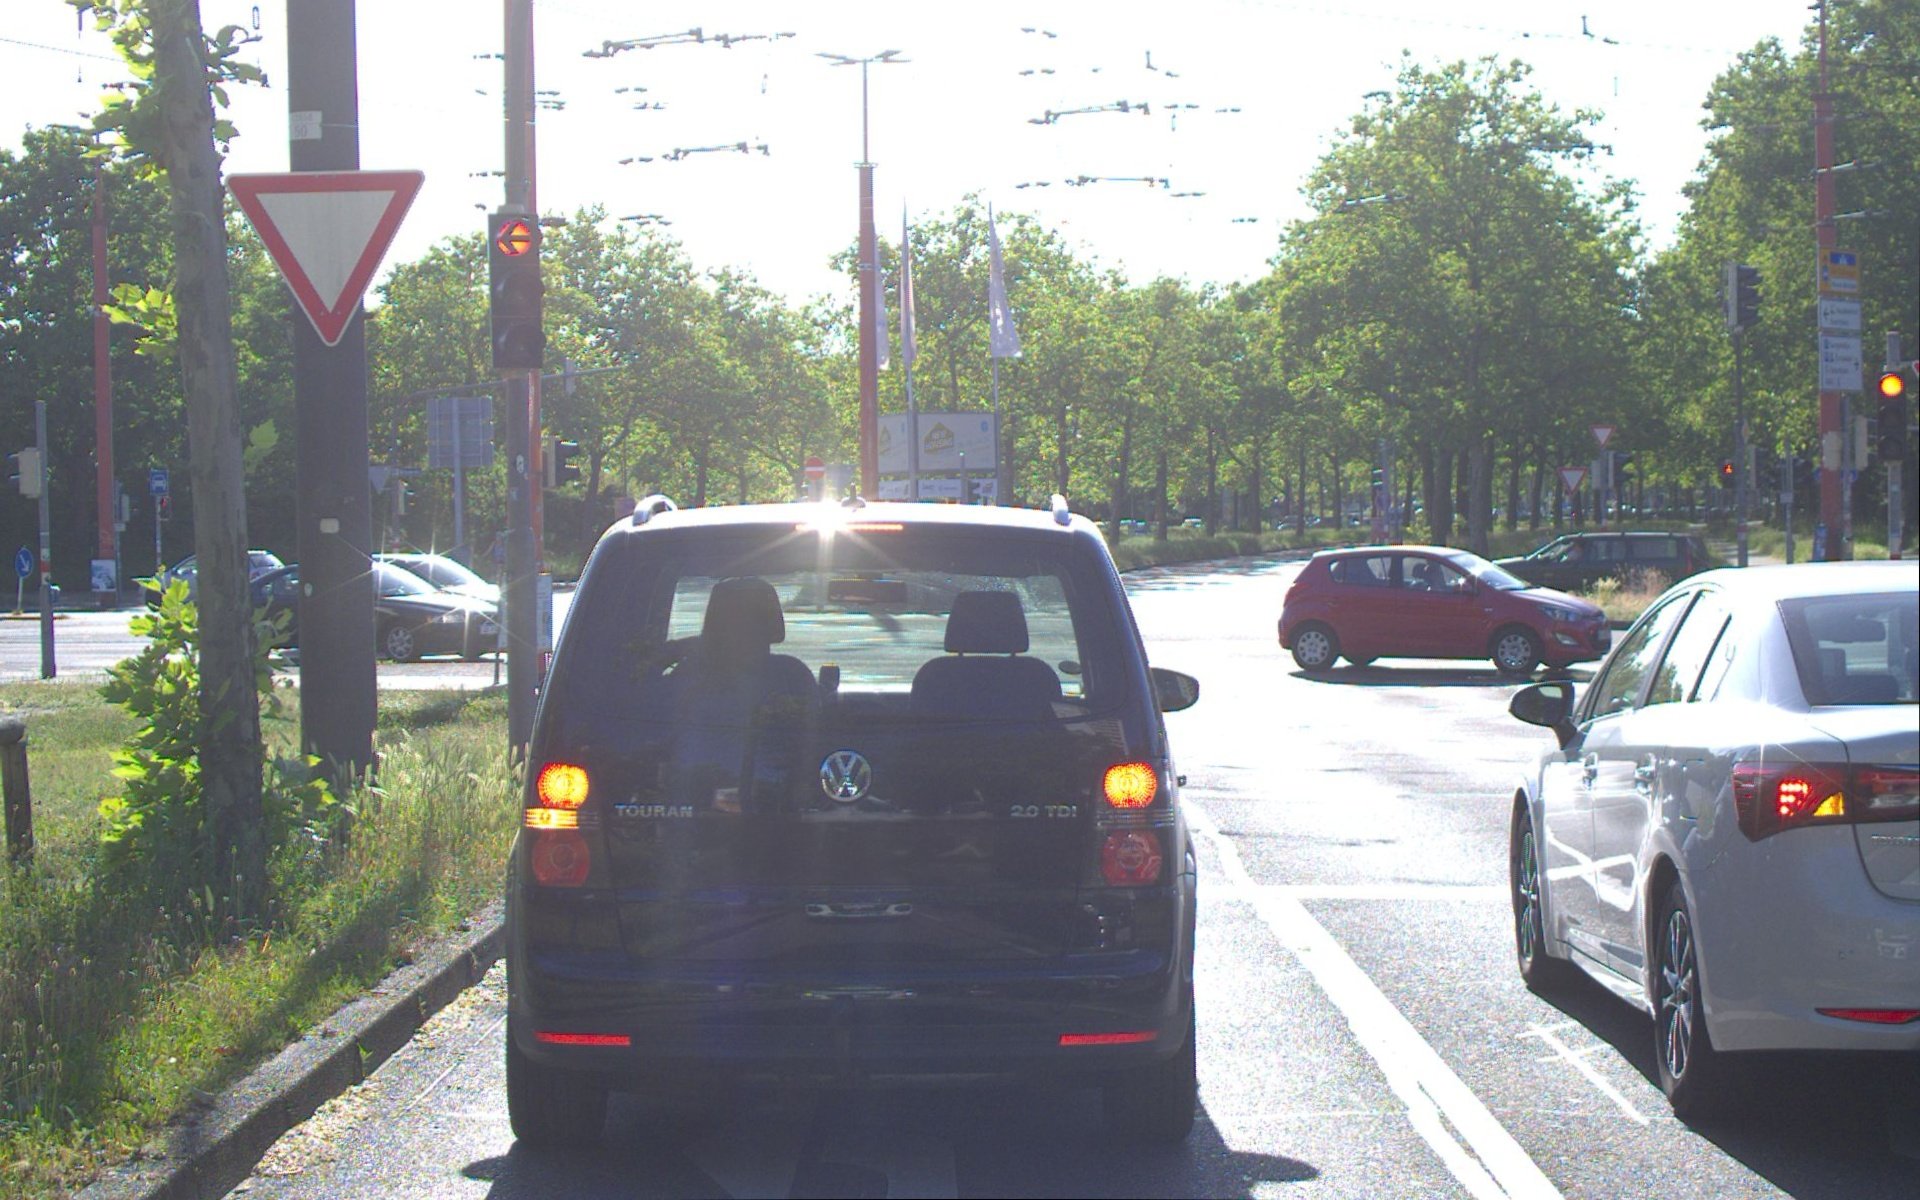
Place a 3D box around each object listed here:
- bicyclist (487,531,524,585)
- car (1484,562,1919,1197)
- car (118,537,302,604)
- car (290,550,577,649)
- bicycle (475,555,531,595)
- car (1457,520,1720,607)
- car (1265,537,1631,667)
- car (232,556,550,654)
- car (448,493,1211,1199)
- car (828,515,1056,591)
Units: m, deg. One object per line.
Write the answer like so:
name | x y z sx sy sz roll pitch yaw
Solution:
bicyclist | -12.500 -1.157 94.625 0.693 1.452 0.874 0 1 18
car | 2.684 0.629 10.075 1.715 1.449 4.144 0 1 1
car | -18.123 -0.715 83.093 3.993 1.575 1.997 0 1 27
car | -8.175 -0.025 53.301 4.226 1.474 1.751 0 1 30
bicycle | -12.531 -0.689 94.413 0.735 1.086 1.959 0 1 18
car | 11.780 -0.688 64.454 4.459 1.590 1.997 0 1 26
car | 5.847 0.002 41.241 3.993 1.489 1.769 0 1 27
car | -8.128 0.054 49.005 4.311 1.322 1.759 0 1 29
car | -0.319 0.545 9.873 1.737 1.635 4.000 0 1 -1
car | -0.390 -0.998 73.759 4.459 1.590 1.997 0 1 26
